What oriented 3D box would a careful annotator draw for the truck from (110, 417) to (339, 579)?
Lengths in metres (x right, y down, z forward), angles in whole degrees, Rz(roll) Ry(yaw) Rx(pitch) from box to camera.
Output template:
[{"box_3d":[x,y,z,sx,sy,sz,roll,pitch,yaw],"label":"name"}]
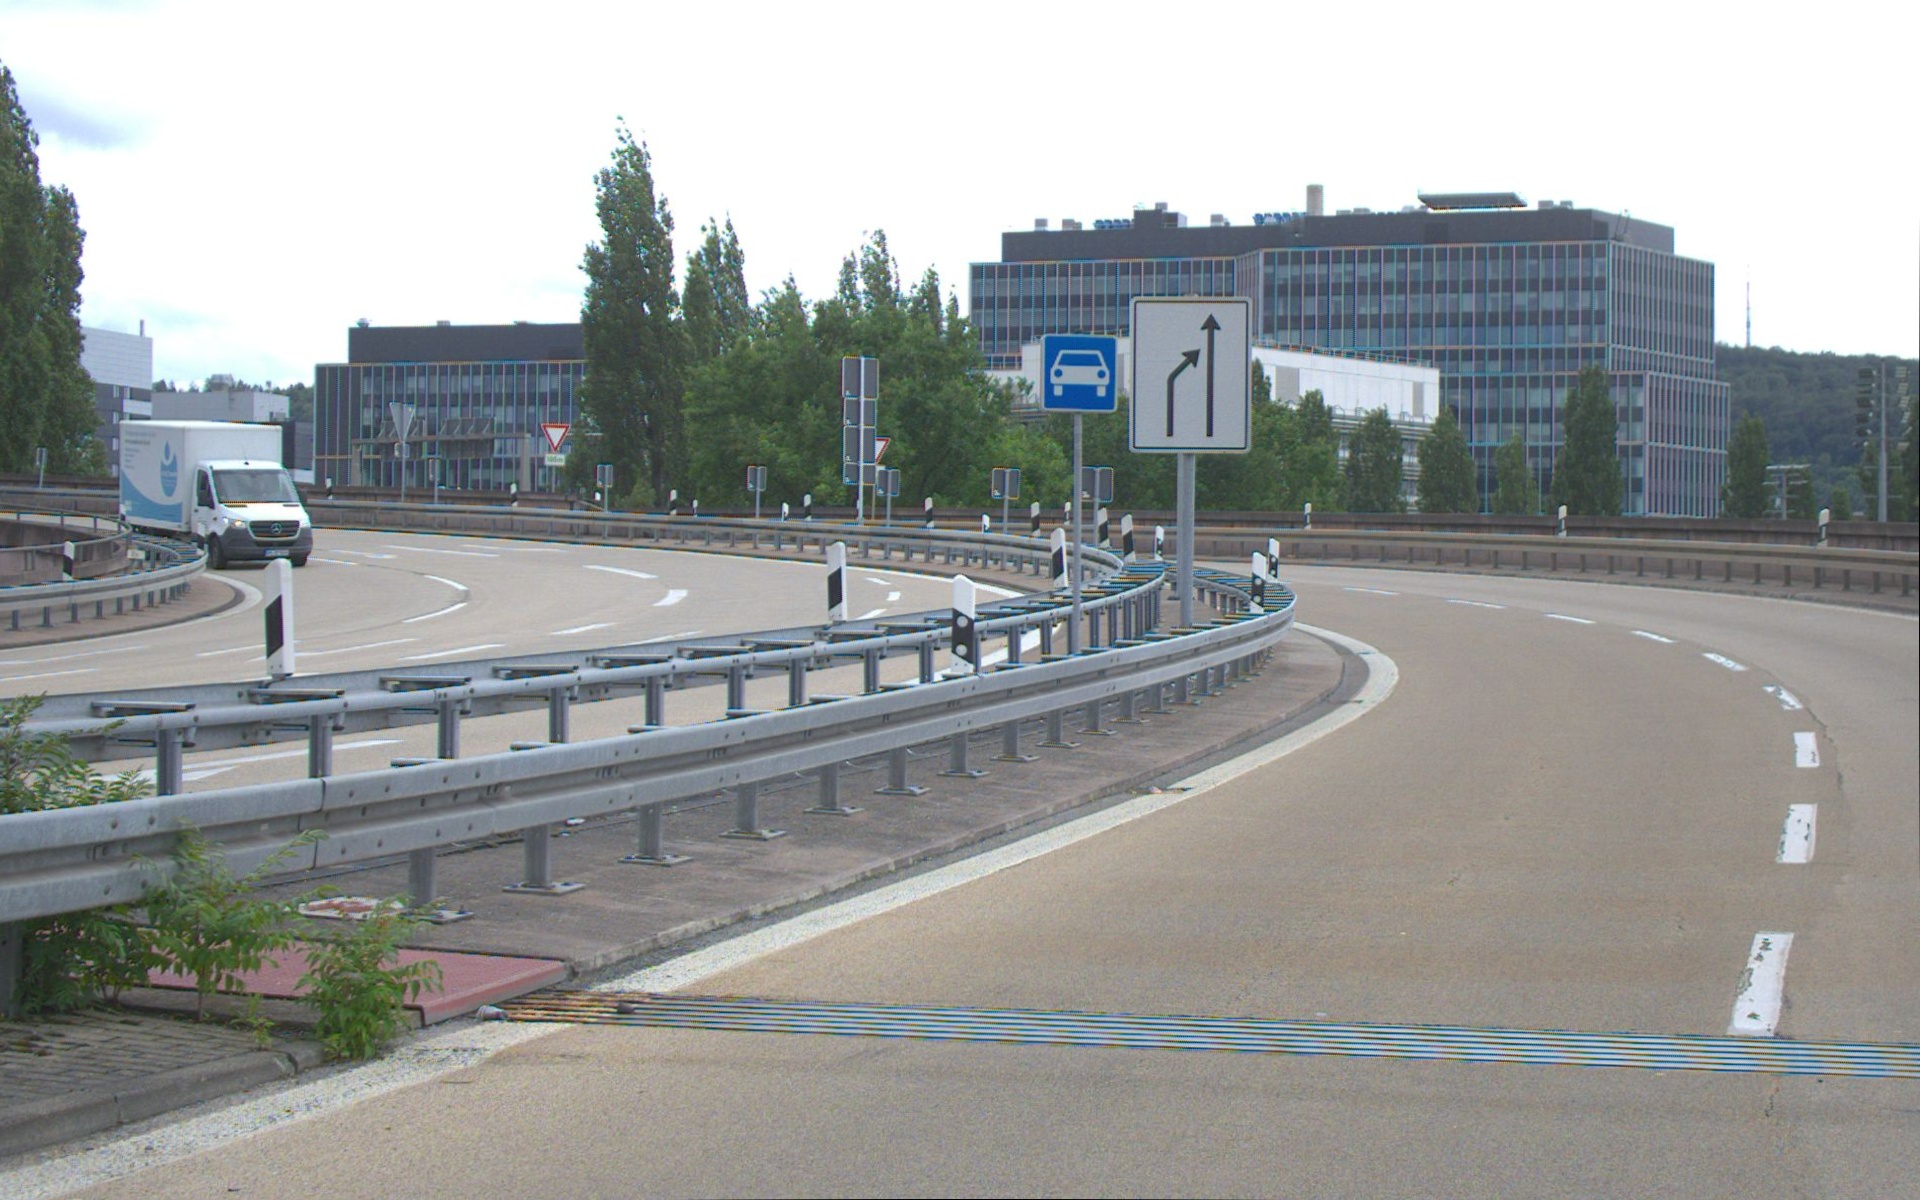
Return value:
[{"box_3d":[-15.863,-2.235,73.820,2.345,3.252,6.995,2,1,-33],"label":"truck"}]
